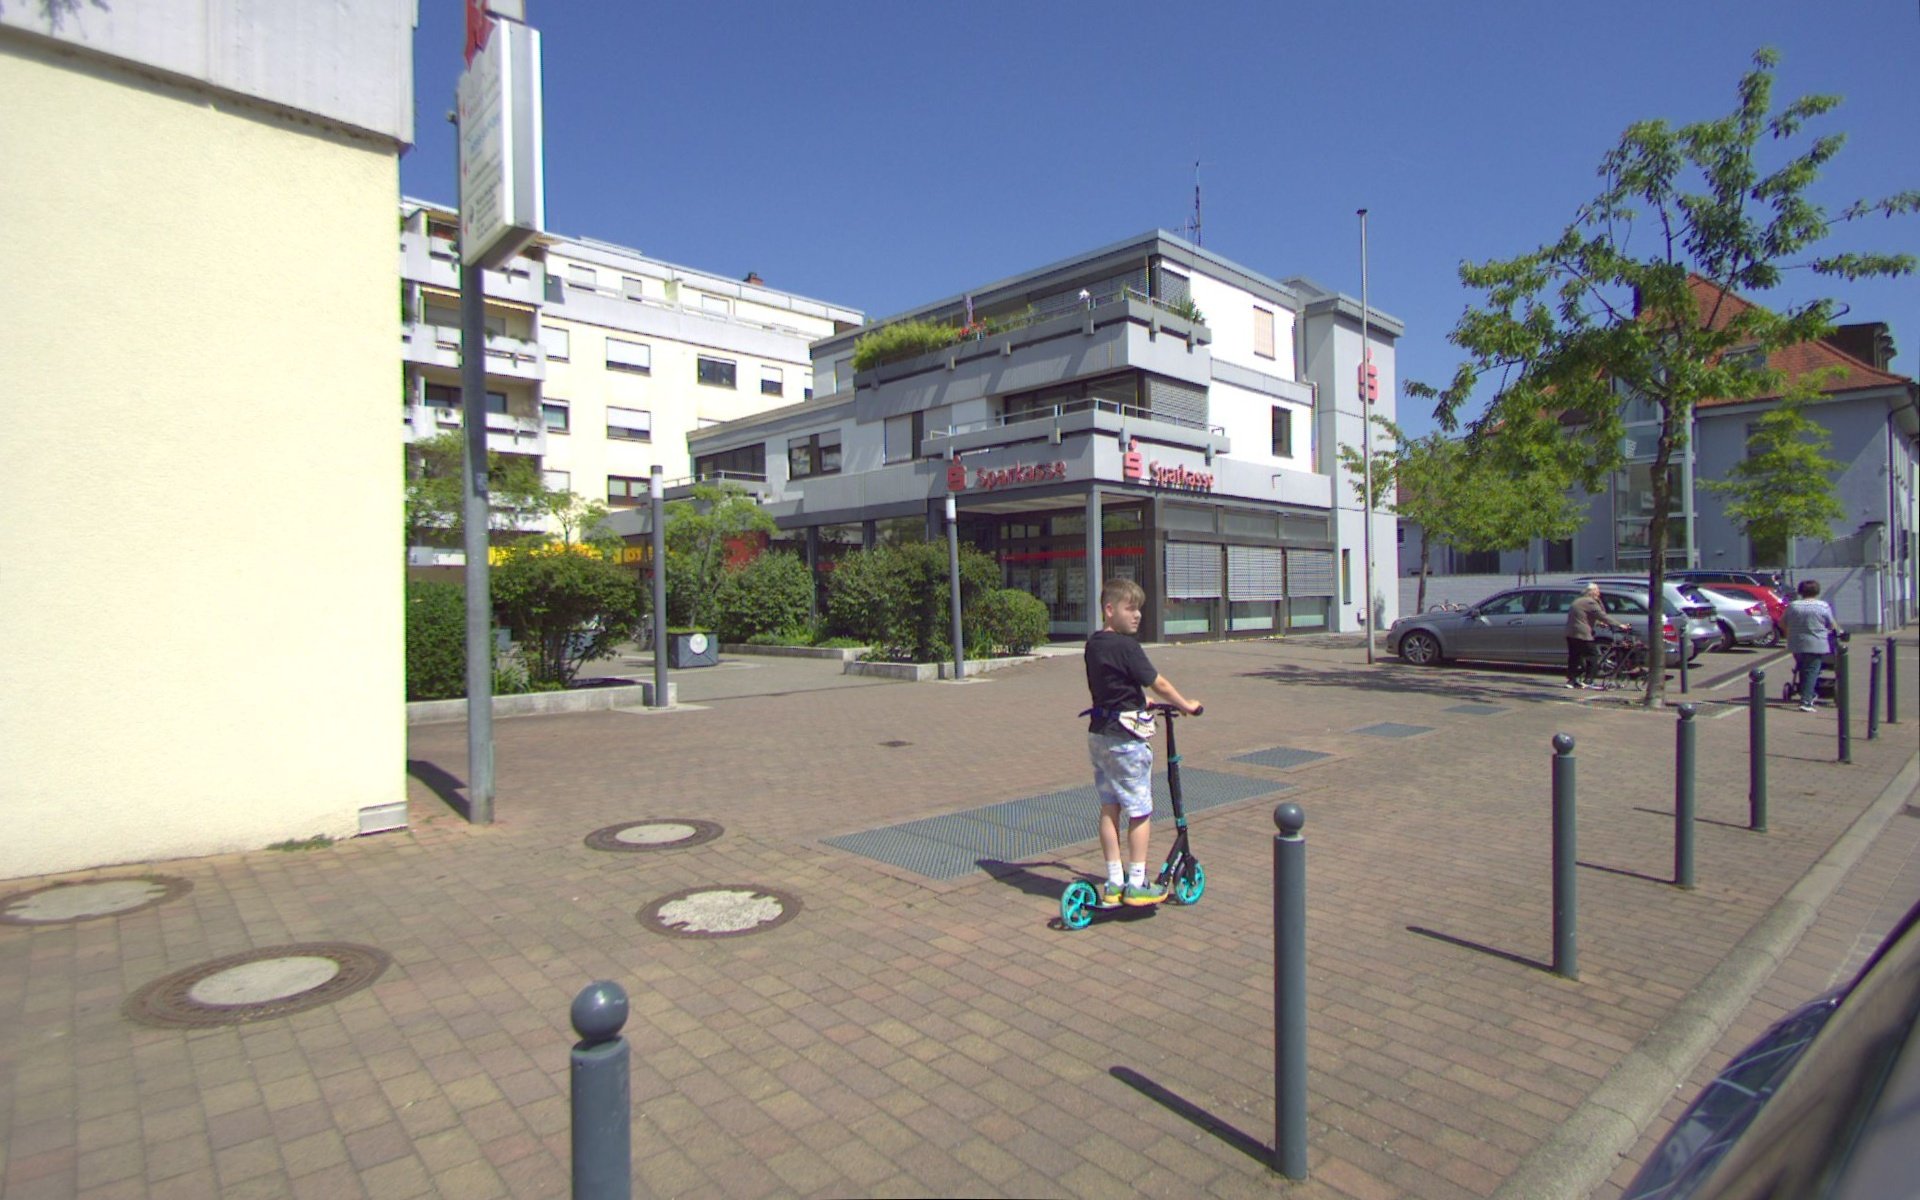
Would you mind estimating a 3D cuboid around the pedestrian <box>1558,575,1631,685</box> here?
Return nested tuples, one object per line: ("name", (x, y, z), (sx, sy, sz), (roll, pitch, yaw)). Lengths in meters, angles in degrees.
("pedestrian", (8.974, 0.413, 14.328), (0.712, 1.520, 0.530), (0, 0, 11))

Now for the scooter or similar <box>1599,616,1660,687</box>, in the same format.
("scooter or similar", (9.419, 0.713, 14.250), (0.538, 0.957, 0.535), (0, 0, 9))

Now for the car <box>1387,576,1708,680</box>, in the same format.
("car", (9.732, 0.362, 17.028), (4.432, 1.483, 1.664), (2, 2, 44))

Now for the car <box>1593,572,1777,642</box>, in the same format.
("car", (17.335, 0.142, 24.292), (3.421, 1.571, 1.467), (0, 1, 45))

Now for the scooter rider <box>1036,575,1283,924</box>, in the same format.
("scooter rider", (0.898, 0.567, 4.431), (1.113, 1.341, 0.462), (-1, 0, -40))

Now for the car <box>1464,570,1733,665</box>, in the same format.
("car", (11.832, 0.241, 18.908), (4.033, 1.579, 1.686), (1, 2, 43))

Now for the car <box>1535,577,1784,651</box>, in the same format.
("car", (15.507, 0.237, 22.596), (4.429, 1.460, 1.632), (1, 2, 42))

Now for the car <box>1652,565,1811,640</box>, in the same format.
("car", (19.243, 0.018, 25.301), (3.032, 1.759, 1.324), (1, 2, 44))

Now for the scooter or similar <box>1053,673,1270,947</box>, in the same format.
("scooter or similar", (0.883, 0.844, 4.366), (0.943, 0.977, 0.411), (-1, 0, -39))

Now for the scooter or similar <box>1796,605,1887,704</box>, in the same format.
("scooter or similar", (10.635, 0.641, 12.213), (0.890, 1.132, 0.507), (0, 1, -25))

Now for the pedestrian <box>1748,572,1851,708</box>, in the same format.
("pedestrian", (9.825, 0.442, 11.846), (1.026, 1.535, 0.514), (0, 1, -24))
